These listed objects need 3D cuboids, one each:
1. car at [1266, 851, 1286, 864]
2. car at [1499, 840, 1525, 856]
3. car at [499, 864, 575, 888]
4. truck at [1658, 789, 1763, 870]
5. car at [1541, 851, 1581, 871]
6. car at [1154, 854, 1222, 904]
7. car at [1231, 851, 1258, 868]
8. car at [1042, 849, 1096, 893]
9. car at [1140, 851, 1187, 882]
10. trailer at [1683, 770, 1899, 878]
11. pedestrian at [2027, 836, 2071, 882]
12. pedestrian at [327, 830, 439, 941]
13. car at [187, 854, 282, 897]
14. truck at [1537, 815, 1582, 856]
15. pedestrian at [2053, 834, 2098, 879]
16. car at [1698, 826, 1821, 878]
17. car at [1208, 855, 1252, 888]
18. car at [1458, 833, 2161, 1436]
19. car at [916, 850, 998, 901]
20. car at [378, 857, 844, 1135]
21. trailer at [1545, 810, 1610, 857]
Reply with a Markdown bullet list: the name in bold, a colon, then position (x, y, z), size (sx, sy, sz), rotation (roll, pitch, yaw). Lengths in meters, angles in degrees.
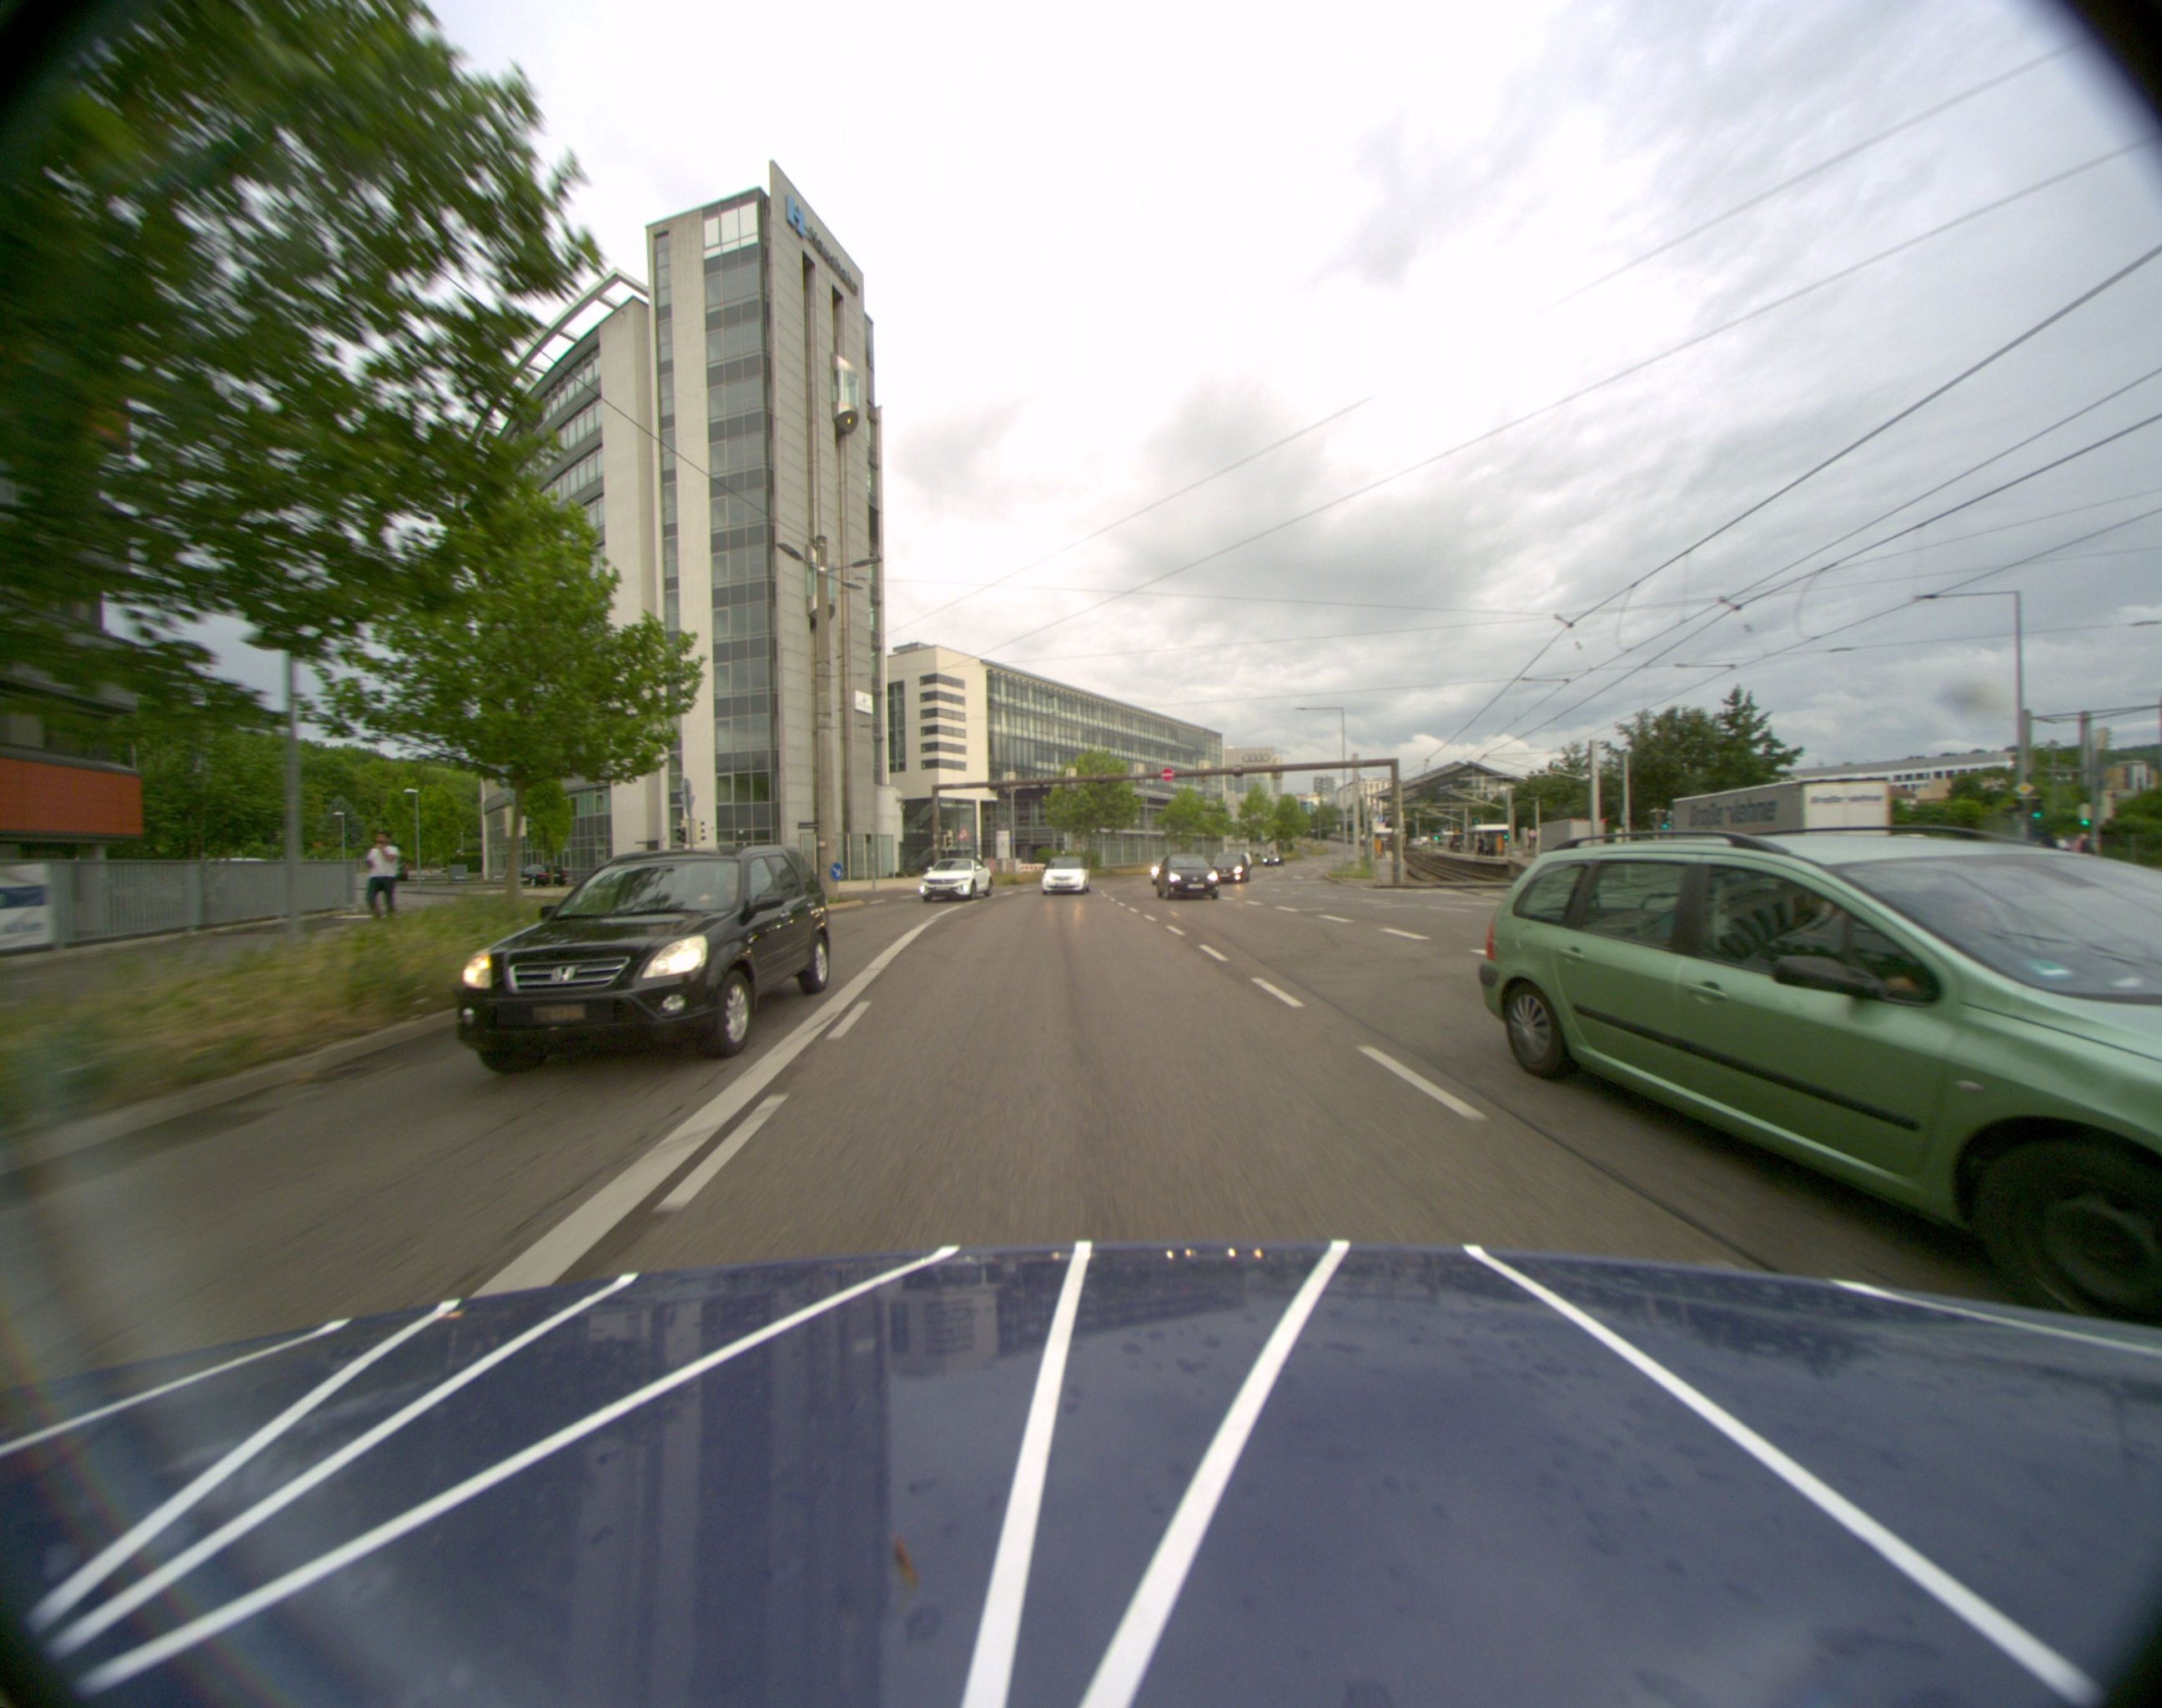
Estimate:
- **car**: position (24.834, 0.443, 96.714), size (1.699, 1.514, 3.830), rotation (-2, 1, 25)
- **car**: position (48.241, -0.696, 85.119), size (1.889, 1.642, 4.101), rotation (-3, 0, 22)
- **car**: position (-35.323, 1.450, 49.345), size (4.315, 1.306, 1.903), rotation (-3, 1, 22)
- **truck**: position (34.788, -1.312, 42.265), size (2.669, 4.106, 6.194), rotation (-1, 1, 21)
- **car**: position (41.162, 0.577, 65.286), size (1.905, 1.546, 4.572), rotation (-3, 0, 20)
- **car**: position (3.543, 0.789, 25.733), size (1.697, 1.514, 3.904), rotation (-1, 0, 0)
- **car**: position (17.678, 0.579, 82.180), size (1.826, 1.701, 4.160), rotation (-3, 0, 26)
- **car**: position (-0.427, 0.663, 31.306), size (1.804, 1.713, 4.001), rotation (0, 0, 5)
- **car**: position (4.559, 0.649, 41.318), size (1.738, 1.469, 4.005), rotation (-3, 0, 17)
- **trailer**: position (32.185, -1.238, 35.437), size (2.652, 4.101, 12.762), rotation (-1, 1, 20)
- **pedestrian**: position (36.803, 0.197, 28.906), size (0.727, 1.695, 0.740), rotation (-2, 1, 18)
- **pedestrian**: position (-13.945, 0.591, 15.216), size (1.144, 2.113, 1.224), rotation (0, 1, 21)
- **car**: position (-40.360, 1.100, 36.202), size (5.069, 1.903, 2.005), rotation (-2, -3, 30)
- **truck**: position (49.199, -1.801, 78.281), size (2.834, 3.972, 5.996), rotation (-1, 0, 21)
- **pedestrian**: position (37.873, 0.102, 28.953), size (0.727, 1.653, 0.740), rotation (-2, 1, 18)
- **car**: position (26.507, -0.050, 29.908), size (1.995, 1.826, 4.916), rotation (-1, -1, 21)
- **car**: position (8.093, 0.900, 41.082), size (1.729, 1.582, 4.198), rotation (-3, 0, 19)
- **car**: position (3.550, 0.697, 3.165), size (1.699, 1.460, 4.403), rotation (-4, 0, 0)
- **car**: position (-4.395, 0.733, 27.466), size (1.998, 1.669, 3.823), rotation (-1, 0, 5)
- **car**: position (-3.627, 0.895, 6.977), size (1.771, 1.620, 4.323), rotation (-3, 0, -5)
- **trailer**: position (46.713, -1.805, 71.860), size (2.797, 4.083, 11.460), rotation (-1, 0, 21)
